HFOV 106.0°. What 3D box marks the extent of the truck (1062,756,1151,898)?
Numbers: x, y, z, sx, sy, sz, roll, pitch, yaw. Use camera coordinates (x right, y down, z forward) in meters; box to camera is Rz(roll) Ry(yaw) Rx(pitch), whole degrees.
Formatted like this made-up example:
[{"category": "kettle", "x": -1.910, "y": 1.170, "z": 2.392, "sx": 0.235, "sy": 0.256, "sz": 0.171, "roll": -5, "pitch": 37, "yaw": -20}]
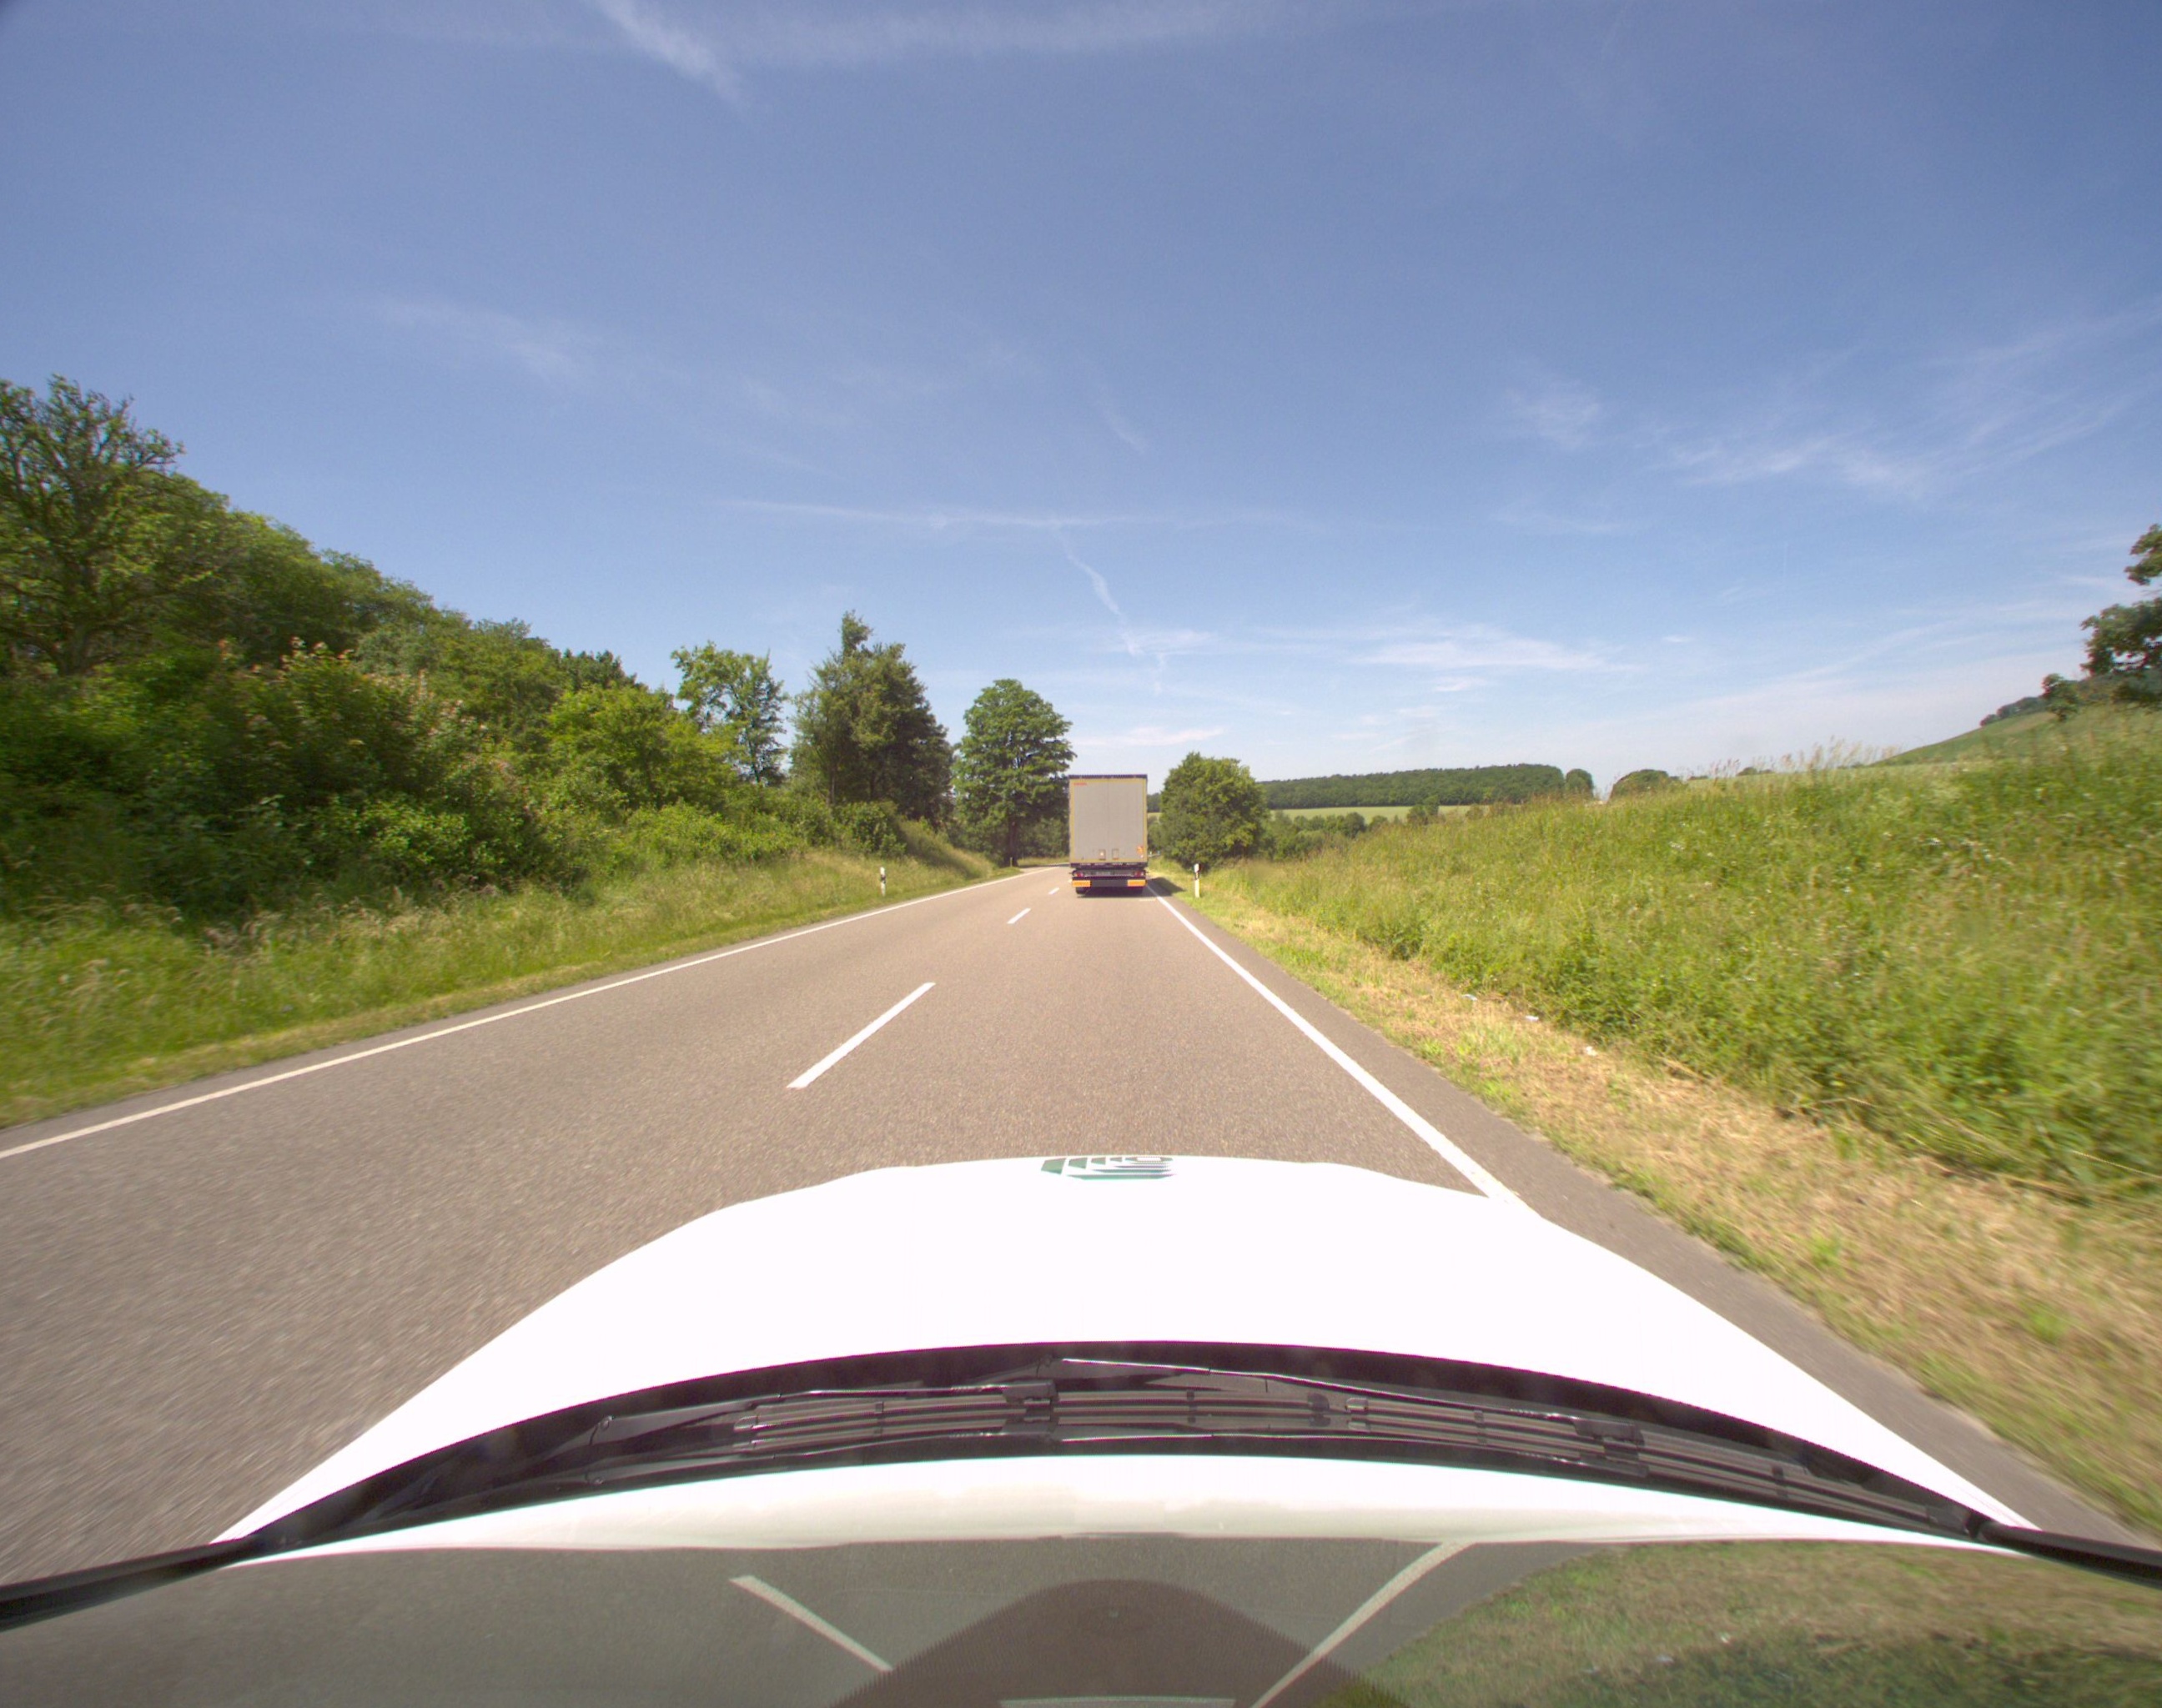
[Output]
[{"category": "truck", "x": 1.041, "y": -0.909, "z": 32.069, "sx": 2.806, "sy": 4.532, "sz": 11.774, "roll": 1, "pitch": 0, "yaw": 2}]
